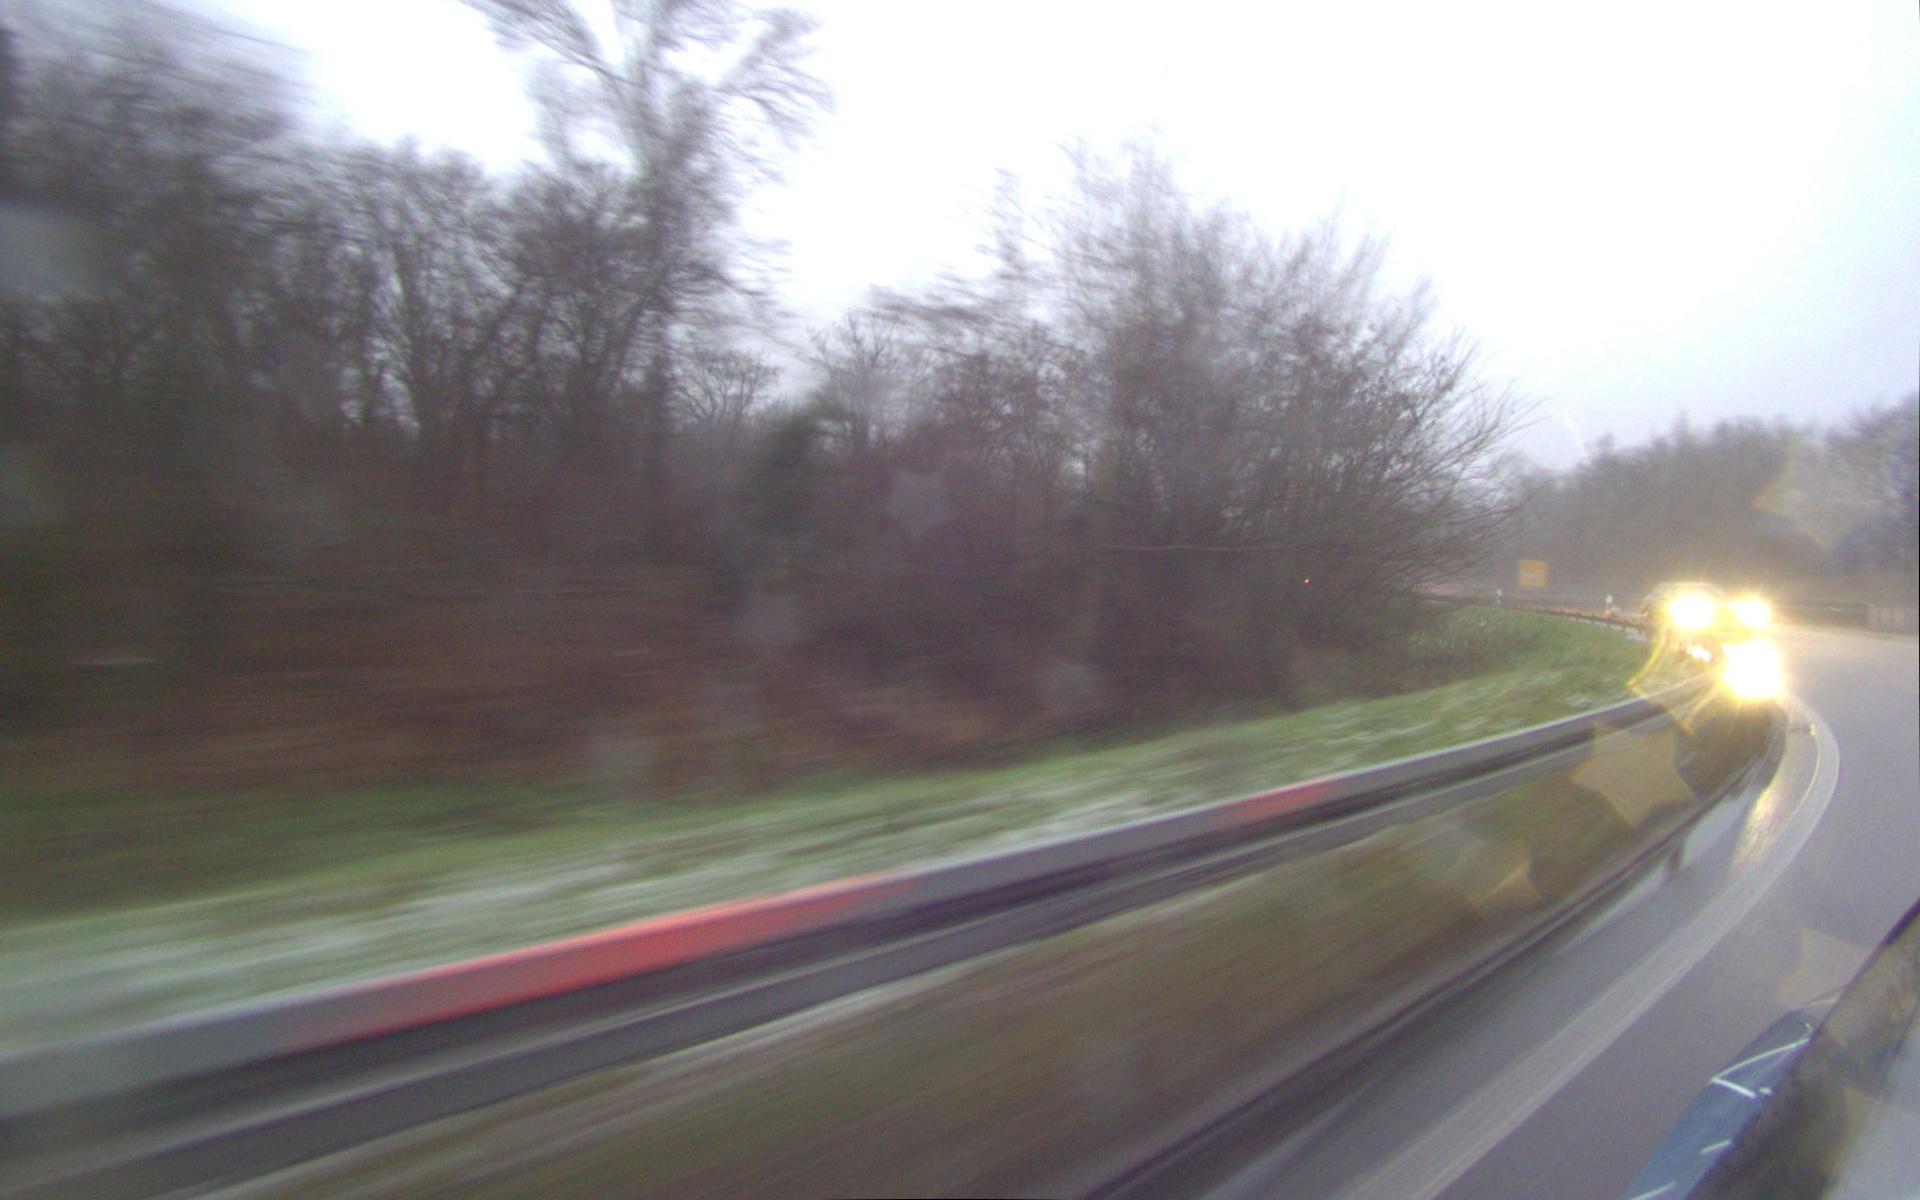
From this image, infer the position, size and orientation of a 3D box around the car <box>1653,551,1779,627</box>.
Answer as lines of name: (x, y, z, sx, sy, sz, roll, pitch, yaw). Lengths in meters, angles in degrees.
car: (23.123, -0.341, 31.144, 1.977, 2.038, 3.935, 5, 2, 21)

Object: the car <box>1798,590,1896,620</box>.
car: (52.161, 0.272, 59.603, 1.959, 1.577, 4.006, 1, 1, -7)
